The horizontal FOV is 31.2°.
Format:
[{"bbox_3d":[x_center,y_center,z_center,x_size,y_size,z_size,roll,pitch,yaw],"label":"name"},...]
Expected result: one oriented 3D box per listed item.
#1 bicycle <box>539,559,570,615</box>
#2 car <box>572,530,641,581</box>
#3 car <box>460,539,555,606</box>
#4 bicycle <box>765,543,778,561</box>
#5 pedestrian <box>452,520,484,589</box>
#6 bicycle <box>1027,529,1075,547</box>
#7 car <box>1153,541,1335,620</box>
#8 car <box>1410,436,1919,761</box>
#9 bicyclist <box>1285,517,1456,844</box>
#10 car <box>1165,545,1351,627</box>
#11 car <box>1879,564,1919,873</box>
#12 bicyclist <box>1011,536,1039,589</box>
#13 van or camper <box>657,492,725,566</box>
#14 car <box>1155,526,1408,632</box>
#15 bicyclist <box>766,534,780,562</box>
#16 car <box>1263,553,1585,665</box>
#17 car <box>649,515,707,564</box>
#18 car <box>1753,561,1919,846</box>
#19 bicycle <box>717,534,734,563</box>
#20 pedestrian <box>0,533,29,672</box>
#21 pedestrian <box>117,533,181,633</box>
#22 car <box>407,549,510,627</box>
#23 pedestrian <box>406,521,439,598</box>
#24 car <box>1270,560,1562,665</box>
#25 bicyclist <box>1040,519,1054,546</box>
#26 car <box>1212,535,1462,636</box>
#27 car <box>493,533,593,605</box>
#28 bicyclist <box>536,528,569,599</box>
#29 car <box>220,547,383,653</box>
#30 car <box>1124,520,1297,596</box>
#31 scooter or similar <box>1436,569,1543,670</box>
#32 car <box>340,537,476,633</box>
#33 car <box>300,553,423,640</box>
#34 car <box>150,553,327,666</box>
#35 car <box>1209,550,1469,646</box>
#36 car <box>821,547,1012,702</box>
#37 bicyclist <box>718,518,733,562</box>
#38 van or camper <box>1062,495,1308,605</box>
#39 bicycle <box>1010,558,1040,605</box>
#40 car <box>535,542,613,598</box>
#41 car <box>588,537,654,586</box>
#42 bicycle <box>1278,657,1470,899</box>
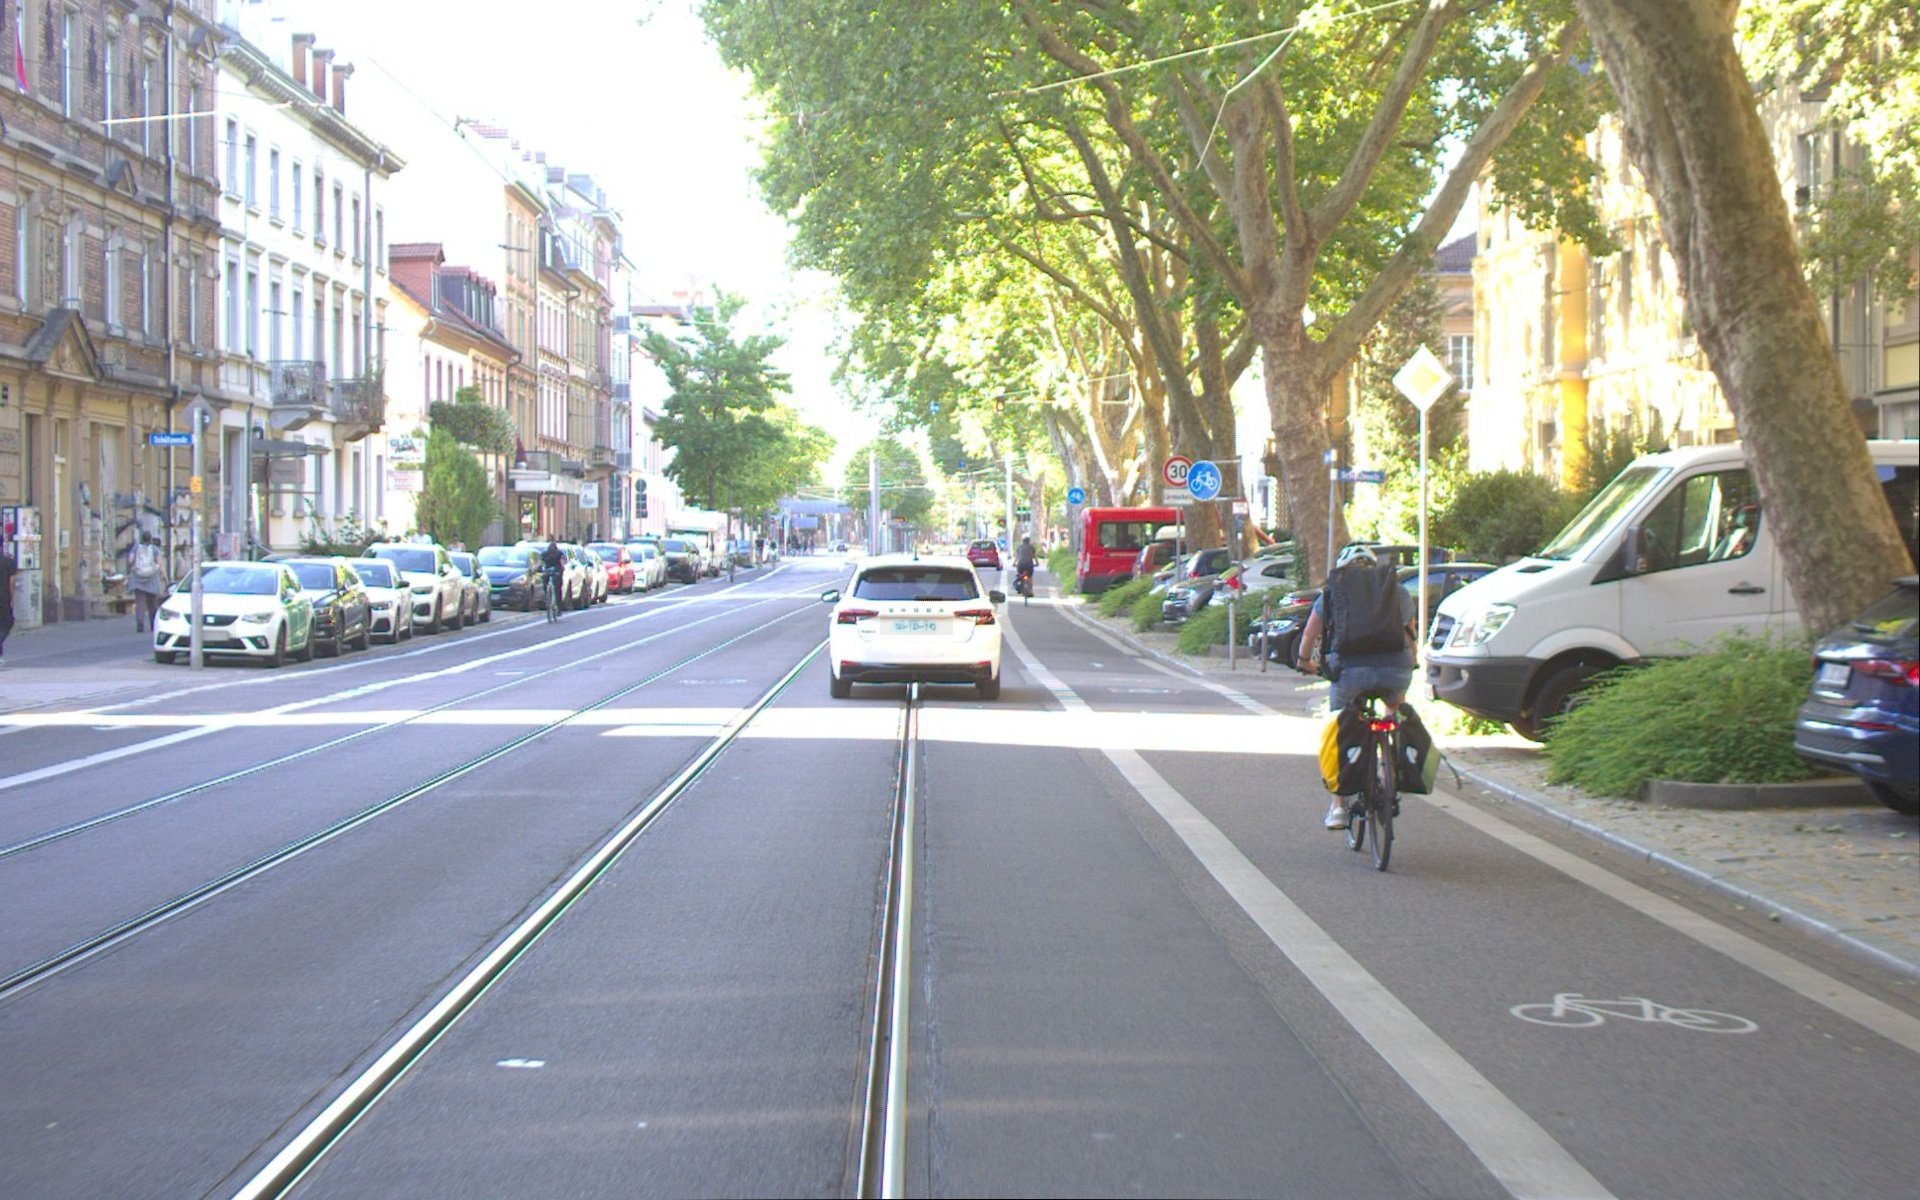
[{"bbox_3d":[-8.464,-0.277,71.814,0.421,1.146,2.232,-1,1,-1],"label":"bicycle"},{"bbox_3d":[-10.900,-1.391,106.189,1.569,1.557,3.448,0,1,4],"label":"car"},{"bbox_3d":[-10.476,-0.656,79.831,1.554,1.510,3.924,0,1,2],"label":"car"},{"bbox_3d":[-10.055,-2.551,183.411,0.499,0.940,1.921,-2,1,2],"label":"bicycle"},{"bbox_3d":[-12.923,-1.205,90.376,0.759,1.815,0.830,0,1,-3],"label":"pedestrian"},{"bbox_3d":[5.380,-3.706,204.165,2.771,0.996,0.592,2,1,15],"label":"bicycle"},{"bbox_3d":[5.863,-0.409,71.237,3.595,1.512,1.694,-2,1,0],"label":"car"},{"bbox_3d":[6.411,-0.043,25.189,5.991,2.274,2.006,0,2,2],"label":"car"},{"bbox_3d":[2.042,0.383,17.206,0.614,1.547,0.935,5,1,0],"label":"bicyclist"},{"bbox_3d":[5.939,-0.280,68.740,3.595,1.594,1.541,0,0,0],"label":"car"},{"bbox_3d":[6.566,0.561,16.252,3.954,1.473,1.796,0,1,-1],"label":"car"},{"bbox_3d":[1.646,-0.958,87.286,0.679,1.334,0.525,1,1,0],"label":"bicyclist"},{"bbox_3d":[-11.854,-3.133,151.977,2.216,3.129,7.113,1,1,1],"label":"van or camper"},{"bbox_3d":[5.761,-0.392,61.939,4.261,1.713,1.849,-2,1,-2],"label":"car"},{"bbox_3d":[-9.989,-2.777,183.188,0.638,1.498,1.070,-1,1,1],"label":"bicyclist"},{"bbox_3d":[6.298,0.112,46.960,4.096,1.486,1.831,0,1,-2],"label":"car"},{"bbox_3d":[-10.939,-2.352,133.600,1.964,1.775,4.938,3,1,-2],"label":"car"},{"bbox_3d":[6.576,0.517,18.754,4.053,1.455,1.796,0,1,-2],"label":"car"},{"bbox_3d":[-8.830,-1.950,129.341,0.481,1.082,1.846,0,1,1],"label":"bicycle"},{"bbox_3d":[-12.681,0.020,45.232,0.683,1.794,1.057,1,1,-9],"label":"pedestrian"},{"bbox_3d":[-13.753,-0.288,58.308,0.663,1.659,0.767,2,1,32],"label":"pedestrian"},{"bbox_3d":[-10.230,-0.265,70.334,1.662,1.515,4.065,1,1,-2],"label":"car"},{"bbox_3d":[-14.121,-1.062,90.364,0.759,2.007,0.830,0,1,-2],"label":"pedestrian"},{"bbox_3d":[6.551,0.165,49.704,4.097,1.486,1.681,0,1,4],"label":"car"},{"bbox_3d":[5.185,-4.005,204.238,0.737,1.583,0.586,0,1,12],"label":"bicyclist"},{"bbox_3d":[6.431,-0.261,58.906,4.027,1.638,1.681,-1,1,-2],"label":"car"},{"bbox_3d":[-10.301,-0.795,85.193,1.856,1.698,4.763,0,1,1],"label":"car"},{"bbox_3d":[-8.515,-0.768,71.826,0.582,1.477,0.807,-1,1,-1],"label":"bicyclist"},{"bbox_3d":[-10.349,-0.030,54.337,1.740,1.557,4.787,1,1,-1],"label":"car"},{"bbox_3d":[5.880,-0.973,80.909,3.818,1.643,1.767,-2,0,-3],"label":"car"},{"bbox_3d":[6.666,0.239,43.290,1.307,1.251,0.341,0,1,13],"label":"scooter or similar"},{"bbox_3d":[-10.364,-0.311,64.796,1.786,1.717,4.719,1,1,0],"label":"car"},{"bbox_3d":[-10.334,-0.084,59.579,1.699,1.415,4.001,1,1,-4],"label":"car"},{"bbox_3d":[-10.221,0.103,48.930,1.740,1.486,4.045,1,1,-1],"label":"car"},{"bbox_3d":[6.173,-0.041,56.303,4.027,1.475,1.681,-1,1,-1],"label":"car"},{"bbox_3d":[-0.499,0.208,35.454,1.842,1.475,3.839,1,1,-2],"label":"car"},{"bbox_3d":[-8.827,-2.263,129.428,0.473,1.630,0.800,0,1,1],"label":"bicyclist"},{"bbox_3d":[5.558,-1.262,85.503,5.814,2.510,2.288,-2,2,-2],"label":"van or camper"},{"bbox_3d":[1.647,-0.482,87.429,0.680,1.151,2.964,1,1,0],"label":"bicycle"},{"bbox_3d":[-10.716,-0.857,95.640,1.687,1.472,4.258,1,1,0],"label":"car"},{"bbox_3d":[-11.000,-1.275,111.720,1.827,1.497,4.689,1,1,-2],"label":"car"},{"bbox_3d":[2.022,0.840,17.083,0.595,1.001,2.511,3,1,0],"label":"bicycle"}]
